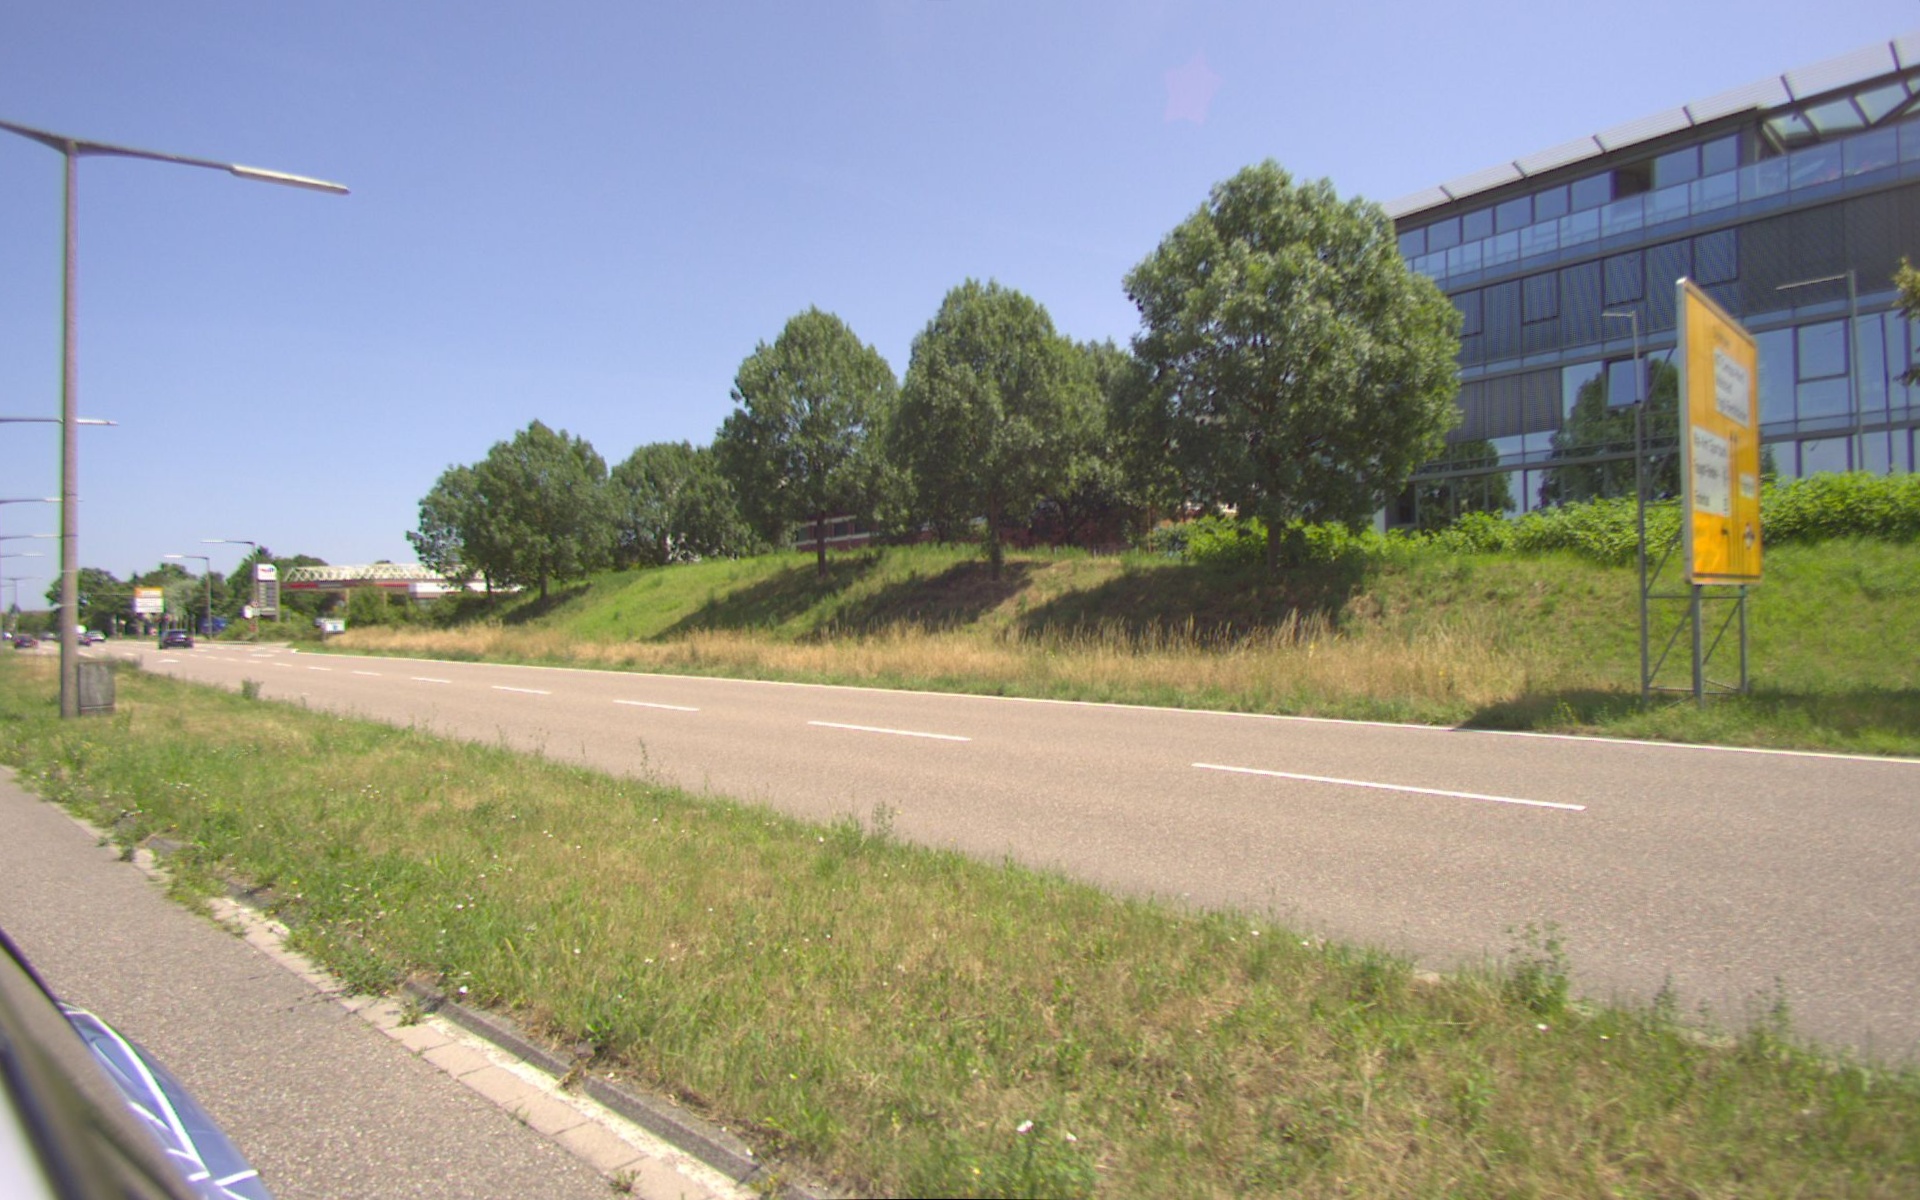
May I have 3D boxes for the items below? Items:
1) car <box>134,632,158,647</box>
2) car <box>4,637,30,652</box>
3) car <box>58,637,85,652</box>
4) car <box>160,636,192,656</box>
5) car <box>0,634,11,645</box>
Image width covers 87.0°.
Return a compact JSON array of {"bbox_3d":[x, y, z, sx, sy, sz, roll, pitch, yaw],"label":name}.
[{"bbox_3d":[-95.449,4.604,118.692,3.820,1.598,1.631,-1,0,43],"label":"car"},{"bbox_3d":[-95.769,4.485,102.784,3.599,1.405,1.597,-1,0,41],"label":"car"},{"bbox_3d":[-91.052,4.553,103.731,3.599,1.405,1.597,-1,0,41],"label":"car"},{"bbox_3d":[-58.632,3.429,75.709,1.598,1.364,3.519,-1,0,-43],"label":"car"},{"bbox_3d":[-127.753,5.216,134.783,3.599,1.405,1.597,-1,0,41],"label":"car"}]
